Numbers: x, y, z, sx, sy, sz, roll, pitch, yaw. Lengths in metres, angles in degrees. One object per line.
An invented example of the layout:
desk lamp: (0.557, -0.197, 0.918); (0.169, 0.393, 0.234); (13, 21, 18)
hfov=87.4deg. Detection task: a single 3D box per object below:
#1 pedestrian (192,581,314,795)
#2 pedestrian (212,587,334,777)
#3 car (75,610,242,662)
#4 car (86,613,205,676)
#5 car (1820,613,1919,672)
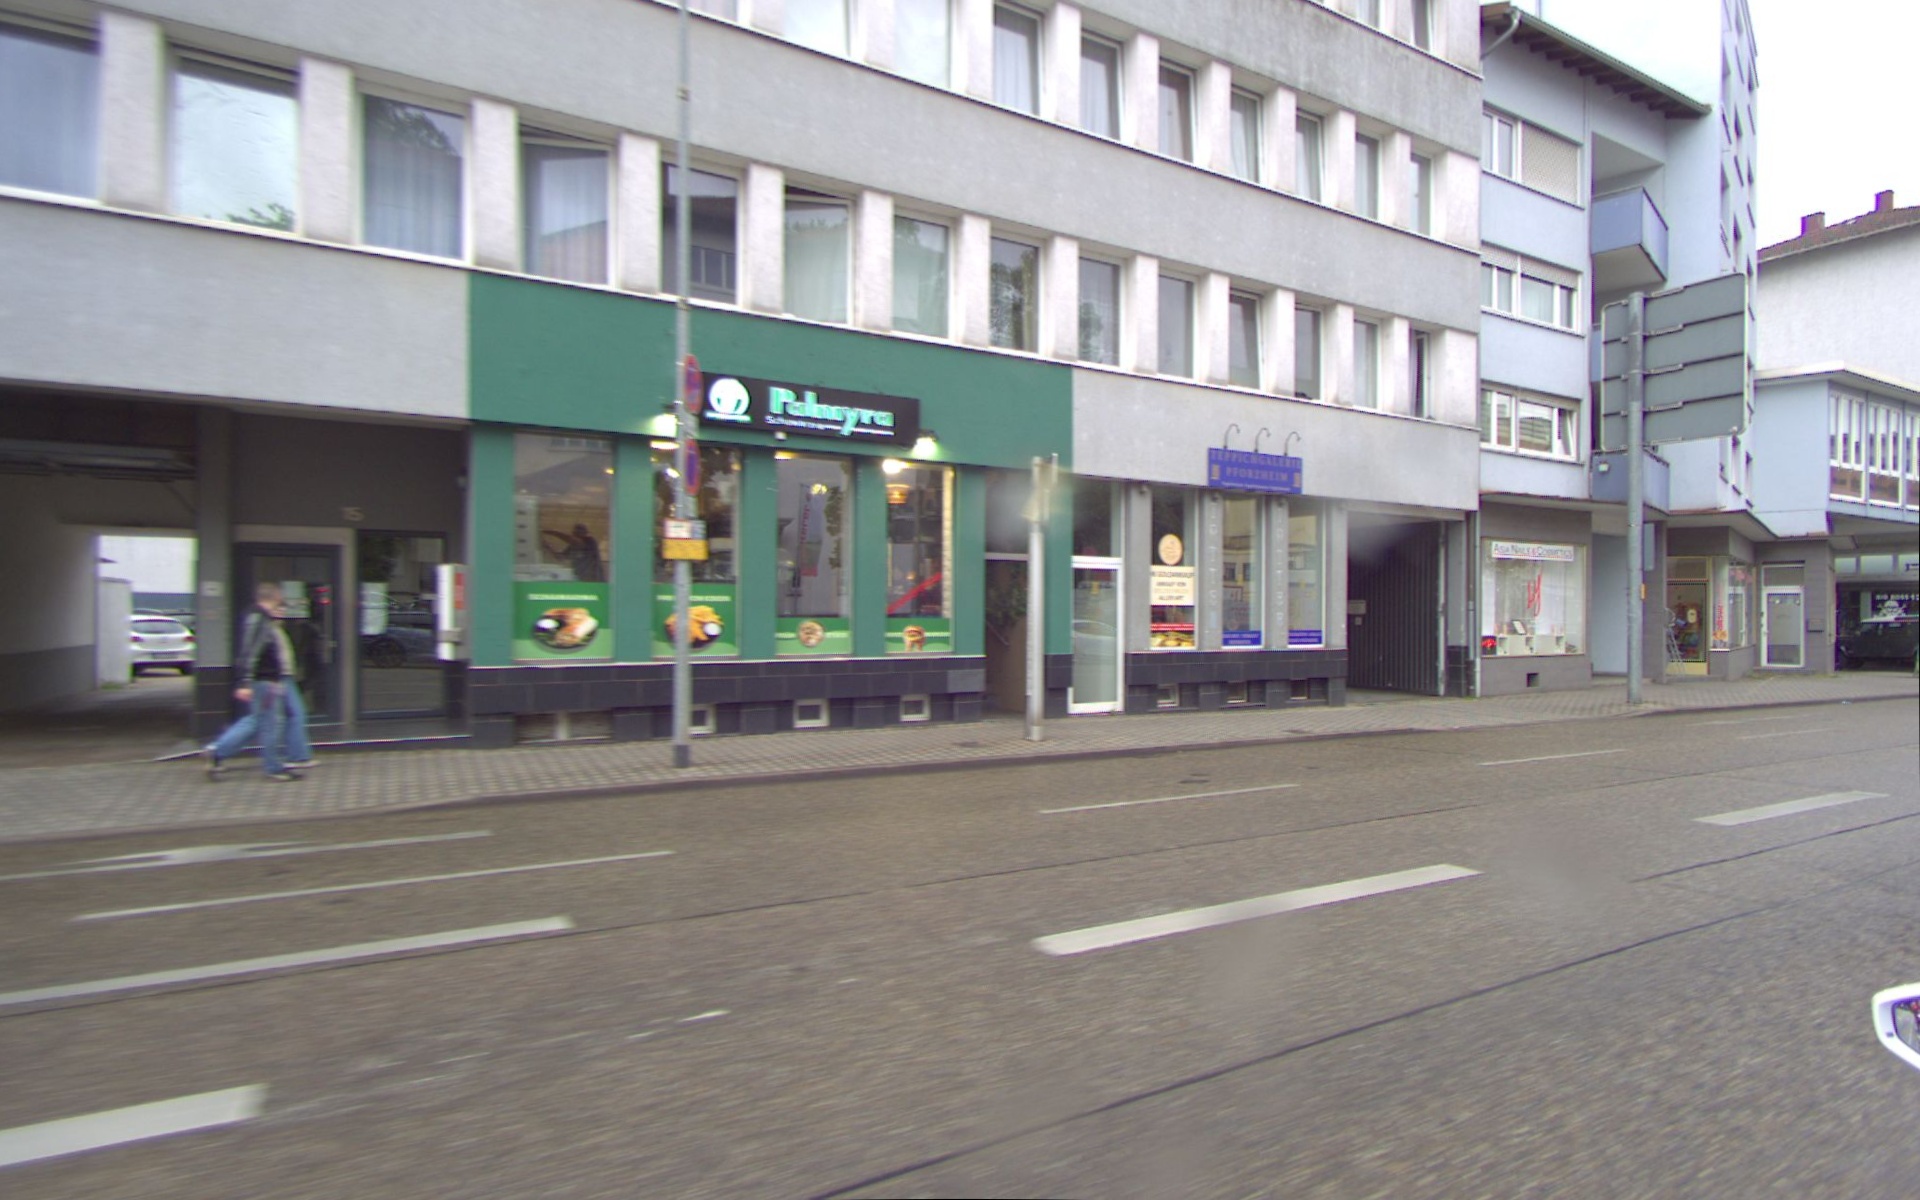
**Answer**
pedestrian: (-6.317, 0.758, 9.010); (0.817, 1.813, 0.572); (1, 3, -29)
pedestrian: (-6.550, 0.754, 9.619); (0.898, 1.698, 0.627); (1, 3, -31)
car: (-23.643, 1.056, 29.677); (3.919, 1.464, 1.832); (0, -2, 14)
car: (-20.601, 1.088, 25.363); (3.944, 1.464, 1.820); (-2, -2, 43)
car: (33.772, 1.497, 36.201); (1.561, 2.061, 3.946); (1, -1, -29)
